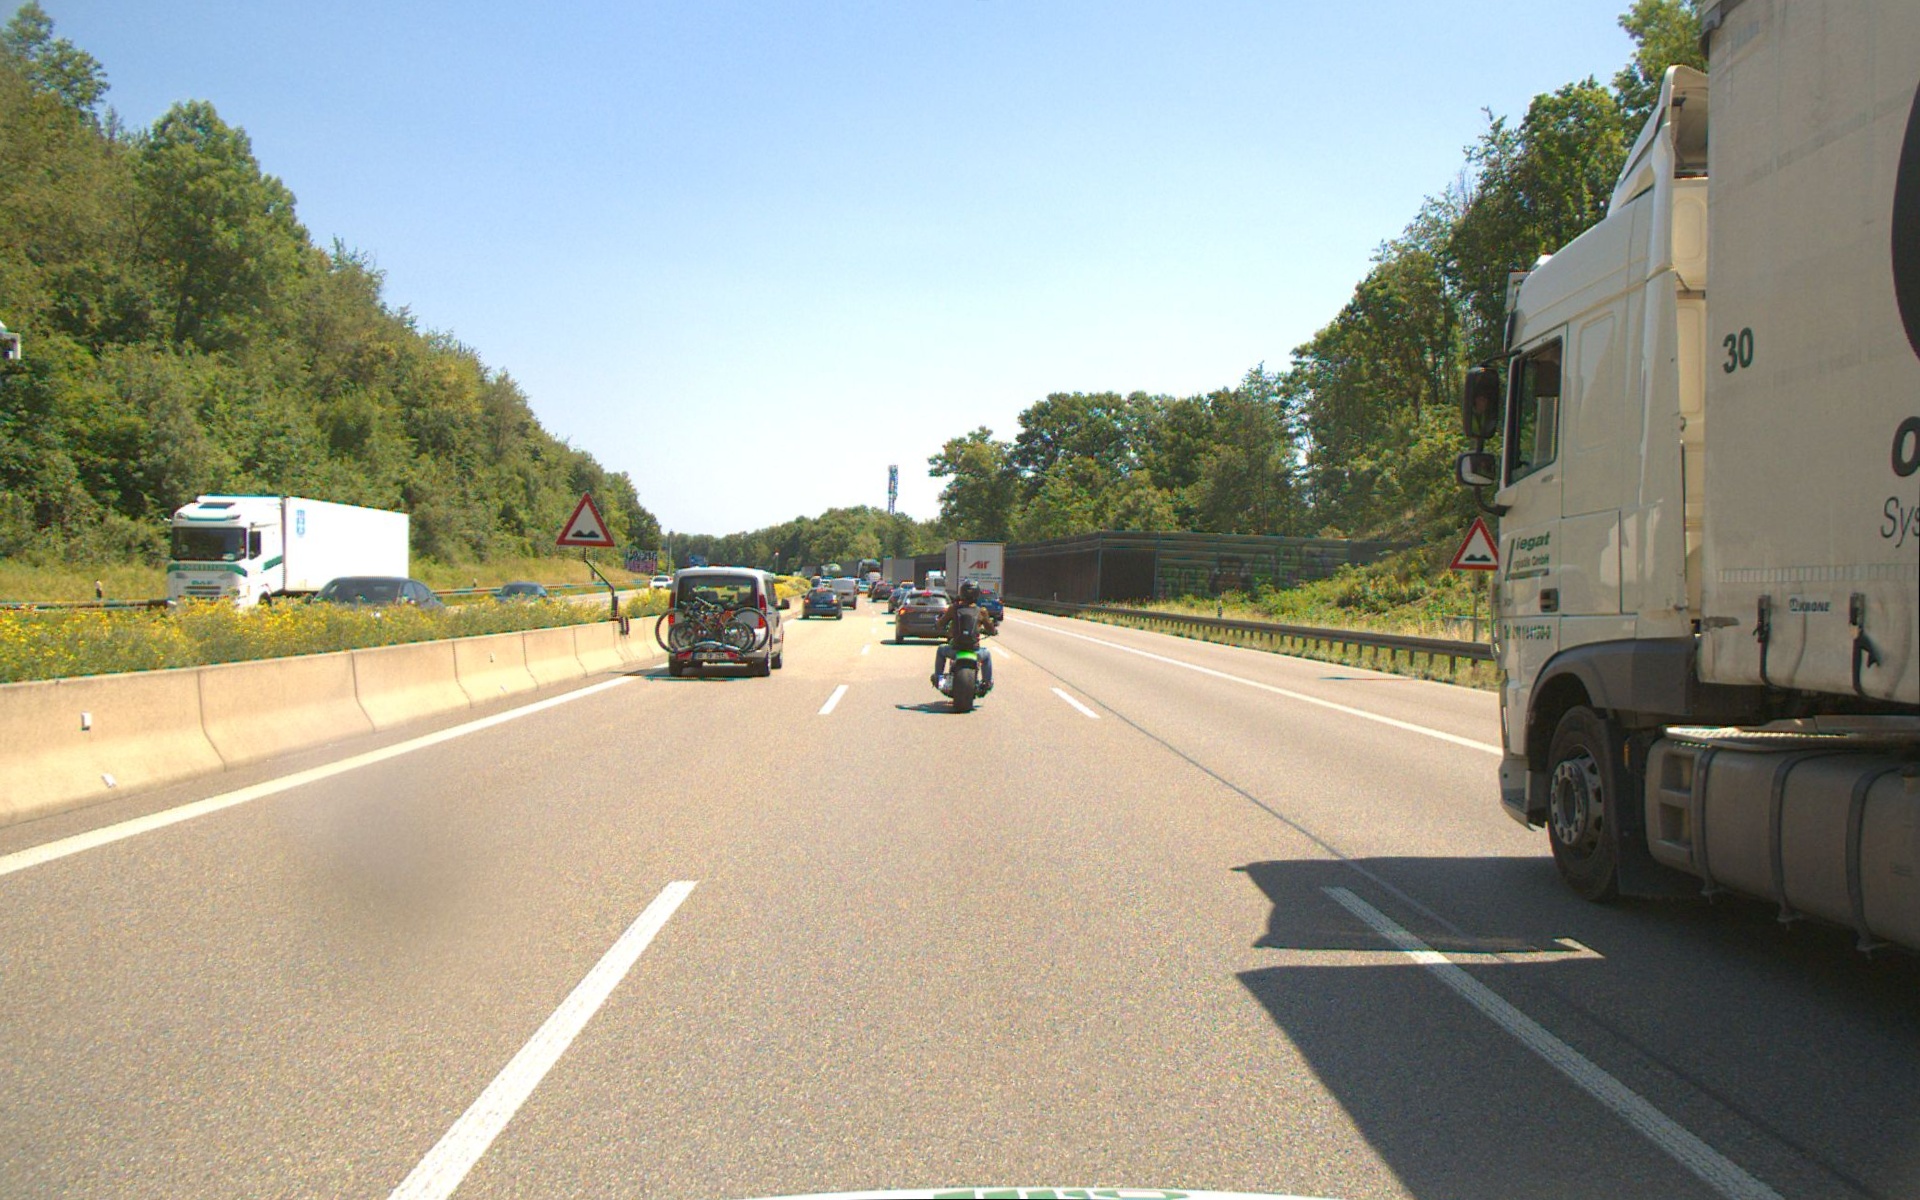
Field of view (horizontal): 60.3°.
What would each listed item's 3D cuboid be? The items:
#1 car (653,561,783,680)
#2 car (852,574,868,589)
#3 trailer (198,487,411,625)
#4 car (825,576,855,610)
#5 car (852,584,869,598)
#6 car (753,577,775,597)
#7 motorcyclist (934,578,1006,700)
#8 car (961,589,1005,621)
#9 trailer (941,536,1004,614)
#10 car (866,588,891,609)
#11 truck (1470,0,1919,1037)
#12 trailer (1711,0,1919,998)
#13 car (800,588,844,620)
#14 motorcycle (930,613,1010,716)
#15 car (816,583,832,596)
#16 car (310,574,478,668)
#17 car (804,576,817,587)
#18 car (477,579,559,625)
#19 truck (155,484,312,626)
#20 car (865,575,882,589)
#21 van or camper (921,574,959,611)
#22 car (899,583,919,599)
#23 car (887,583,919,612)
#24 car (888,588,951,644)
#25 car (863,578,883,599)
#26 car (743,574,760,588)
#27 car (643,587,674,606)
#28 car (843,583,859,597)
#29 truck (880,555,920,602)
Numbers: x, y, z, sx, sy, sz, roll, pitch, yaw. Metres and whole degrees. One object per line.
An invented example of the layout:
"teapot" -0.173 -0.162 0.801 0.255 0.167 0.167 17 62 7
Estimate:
"car" -4.152 0.346 28.952 1.861 1.906 4.409 1 0 -4
"car" -13.799 -2.553 228.186 2.067 1.909 3.994 1 0 -7
"trailer" -22.773 -1.325 58.636 2.661 4.281 13.923 1 0 -3
"car" -7.541 -0.416 104.179 1.755 2.049 3.640 1 0 -2
"car" -10.831 -0.977 179.419 1.796 1.522 3.740 1 0 -5
"car" -20.333 -1.337 171.649 1.954 2.049 4.418 1 0 -3
"motorcyclist" 0.136 0.485 21.447 0.881 1.500 1.872 1 0 0
"car" 1.084 0.243 80.548 1.619 1.508 4.476 1 0 -6
"trailer" 0.593 -1.438 95.035 2.828 4.109 13.788 1 1 -3
"car" -6.708 -0.095 135.870 1.954 1.668 3.997 1 0 -3
"truck" 4.493 -0.737 7.036 2.729 4.278 5.869 1 1 0
"trailer" 4.550 -0.705 0.253 2.729 4.278 13.244 1 1 0
"car" -6.298 0.184 75.954 1.954 1.411 3.997 1 0 -4
"motorcycle" 0.130 0.800 21.503 0.945 1.168 2.812 1 1 0
"car" -15.974 -1.228 194.001 1.796 1.522 3.740 1 0 -5
"car" -10.983 0.371 32.411 1.953 1.707 4.079 1 0 -1
"car" -21.381 -2.648 236.430 1.797 1.522 3.738 1 0 -6
"car" -15.972 0.084 59.949 1.953 1.599 3.999 1 0 -1
"truck" -22.453 -1.320 51.403 2.636 4.161 5.200 1 0 -2
"car" -11.660 -2.421 222.773 2.067 1.909 3.994 1 0 -7
"van or camper" -1.651 -0.538 133.254 2.632 2.862 6.797 1 0 -4
"car" -5.395 -0.976 174.690 1.954 1.601 3.997 1 0 -4
"car" -3.209 -0.103 92.987 1.743 1.579 3.583 1 0 -2
"car" -1.181 0.446 46.910 1.629 1.478 3.866 1 0 -3
"car" -8.475 -1.106 160.886 1.874 2.049 3.687 1 0 -5
"car" -27.559 -2.505 218.455 1.954 1.720 4.397 1 0 -4
"car" -24.656 -0.284 135.449 1.954 1.467 4.169 1 0 -3
"car" -13.162 -1.198 199.323 1.796 1.522 3.740 1 0 -5
"truck" -6.828 -2.368 186.412 3.731 5.046 8.936 1 0 -7
